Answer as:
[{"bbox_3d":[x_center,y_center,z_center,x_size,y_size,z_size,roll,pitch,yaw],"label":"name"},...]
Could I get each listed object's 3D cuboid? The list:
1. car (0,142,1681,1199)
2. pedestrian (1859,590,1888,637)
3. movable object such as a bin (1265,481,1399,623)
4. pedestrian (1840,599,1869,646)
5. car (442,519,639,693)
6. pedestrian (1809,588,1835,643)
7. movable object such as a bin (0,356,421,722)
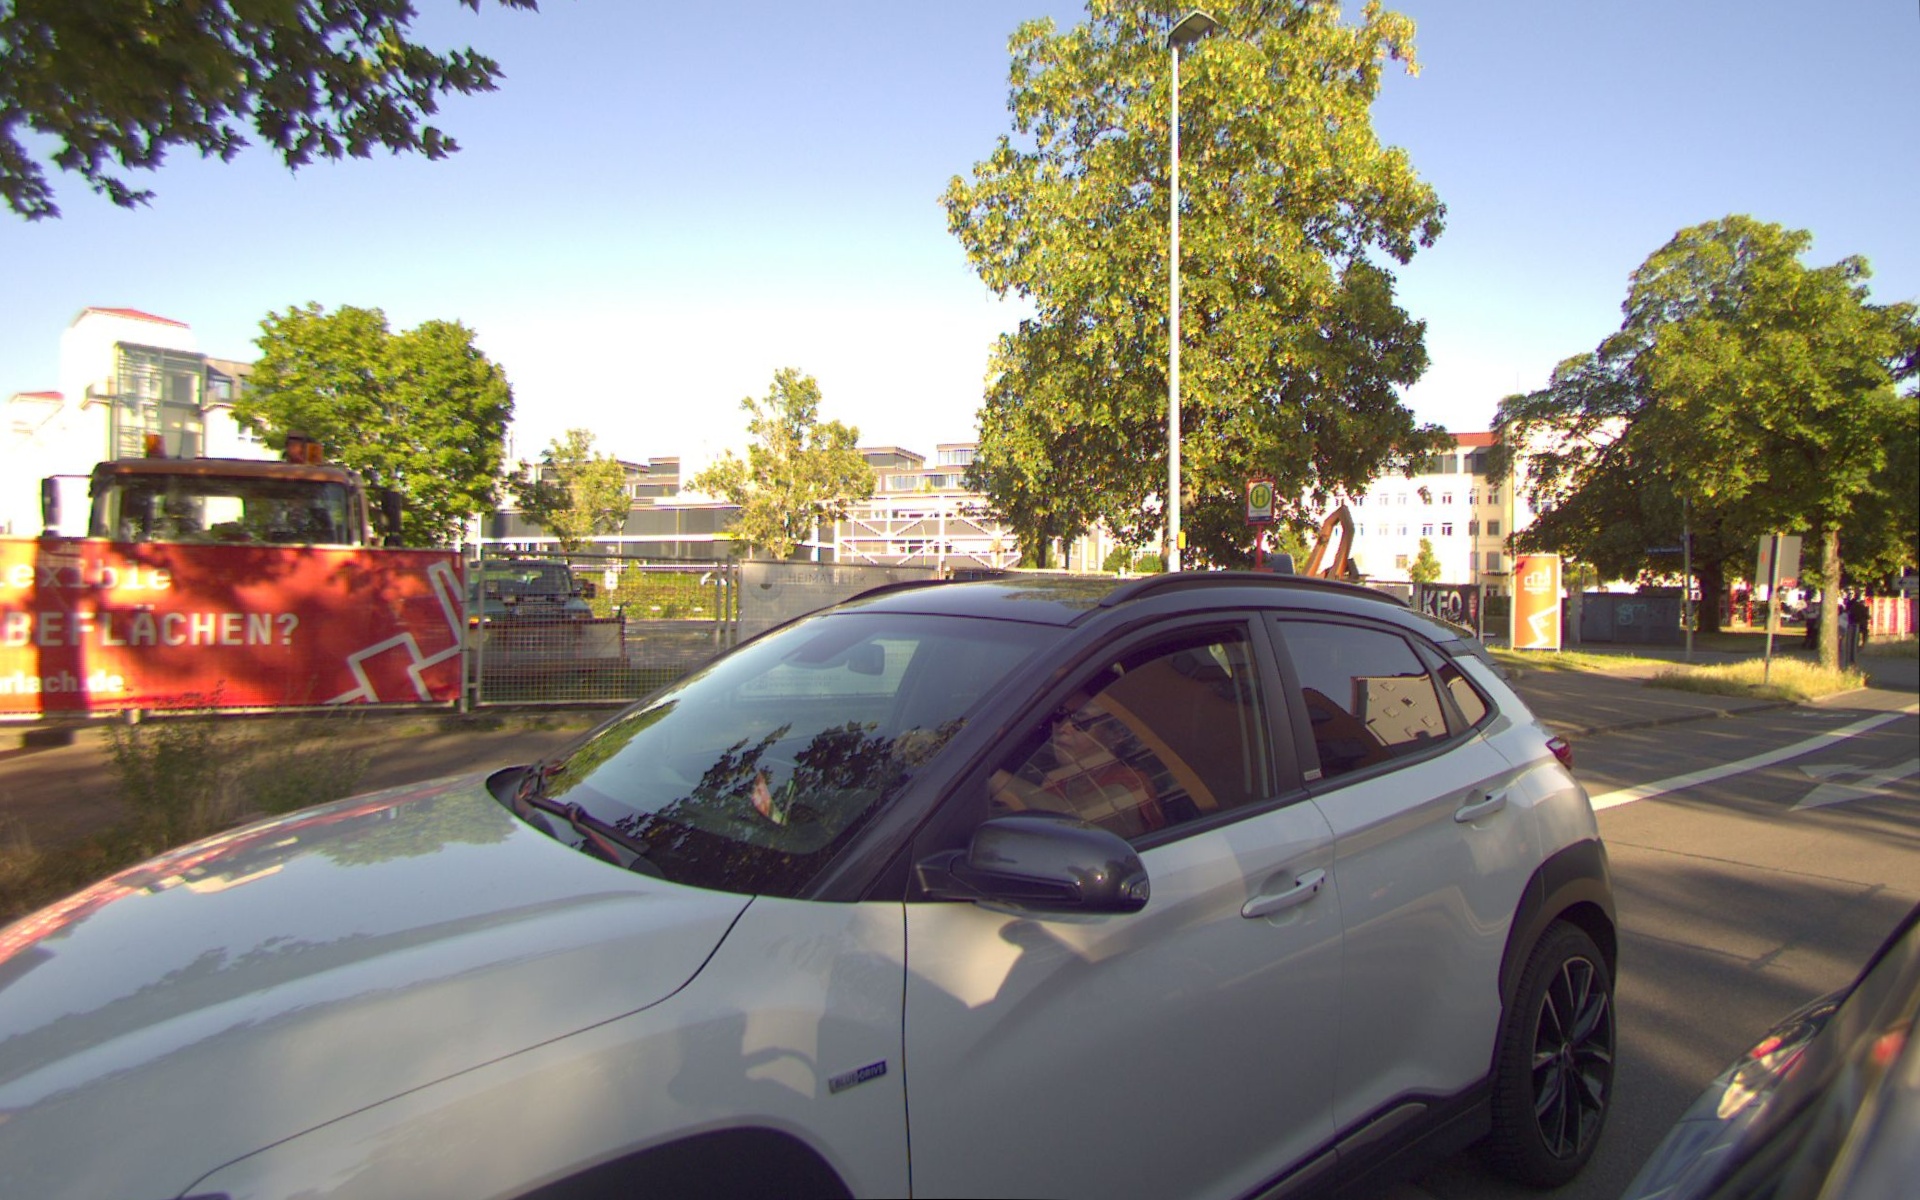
[{"bbox_3d":[0.004,0.547,2.457,3.893,1.618,1.894,3,-2,-39],"label":"car"},{"bbox_3d":[32.878,0.482,36.416,0.628,1.689,0.695,0,0,-40],"label":"pedestrian"},{"bbox_3d":[15.523,-1.886,42.769,3.910,5.547,6.022,0,0,6],"label":"movable object such as a bin"},{"bbox_3d":[28.384,0.698,32.119,0.627,1.452,0.609,0,0,-40],"label":"pedestrian"},{"bbox_3d":[-5.666,0.042,13.300,2.001,1.851,4.612,0,0,-28],"label":"car"},{"bbox_3d":[28.008,0.499,32.896,0.607,1.759,0.629,0,0,44],"label":"pedestrian"},{"bbox_3d":[-8.390,-0.550,12.061,3.154,3.087,6.295,0,0,-31],"label":"movable object such as a bin"}]
